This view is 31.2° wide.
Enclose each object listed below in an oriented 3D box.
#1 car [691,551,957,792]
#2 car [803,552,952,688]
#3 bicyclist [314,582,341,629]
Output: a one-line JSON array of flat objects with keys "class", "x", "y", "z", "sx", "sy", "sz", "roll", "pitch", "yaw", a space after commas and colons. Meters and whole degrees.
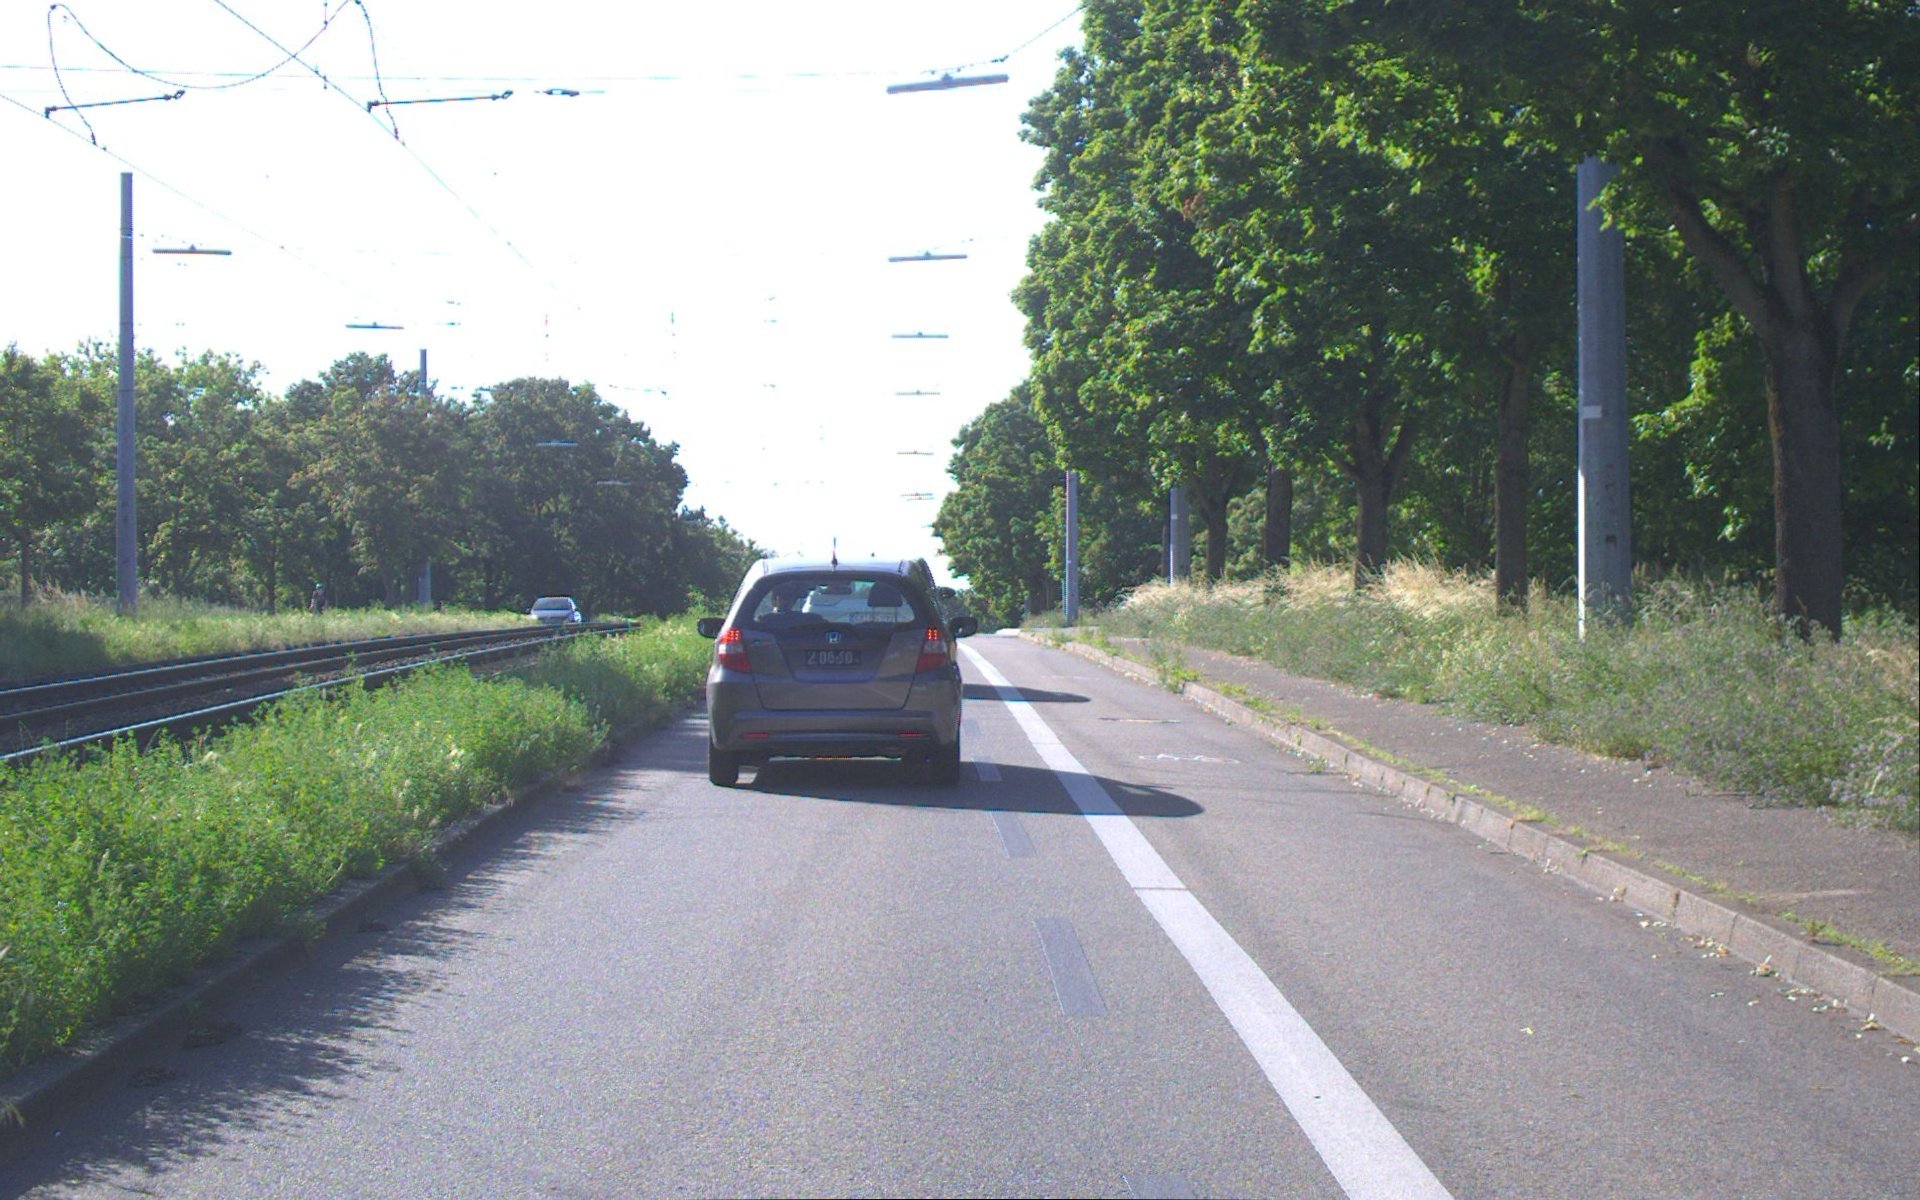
[{"class": "car", "x": -0.877, "y": 0.436, "z": 23.855, "sx": 1.670, "sy": 1.502, "sz": 3.811, "roll": 1, "pitch": 1, "yaw": 0}, {"class": "car", "x": -0.939, "y": 0.207, "z": 40.764, "sx": 1.654, "sy": 1.502, "sz": 3.811, "roll": 1, "pitch": 1, "yaw": 0}, {"class": "bicyclist", "x": -17.943, "y": 0.140, "z": 97.556, "sx": 0.582, "sy": 1.306, "sz": 0.987, "roll": 1, "pitch": 1, "yaw": 0}]
